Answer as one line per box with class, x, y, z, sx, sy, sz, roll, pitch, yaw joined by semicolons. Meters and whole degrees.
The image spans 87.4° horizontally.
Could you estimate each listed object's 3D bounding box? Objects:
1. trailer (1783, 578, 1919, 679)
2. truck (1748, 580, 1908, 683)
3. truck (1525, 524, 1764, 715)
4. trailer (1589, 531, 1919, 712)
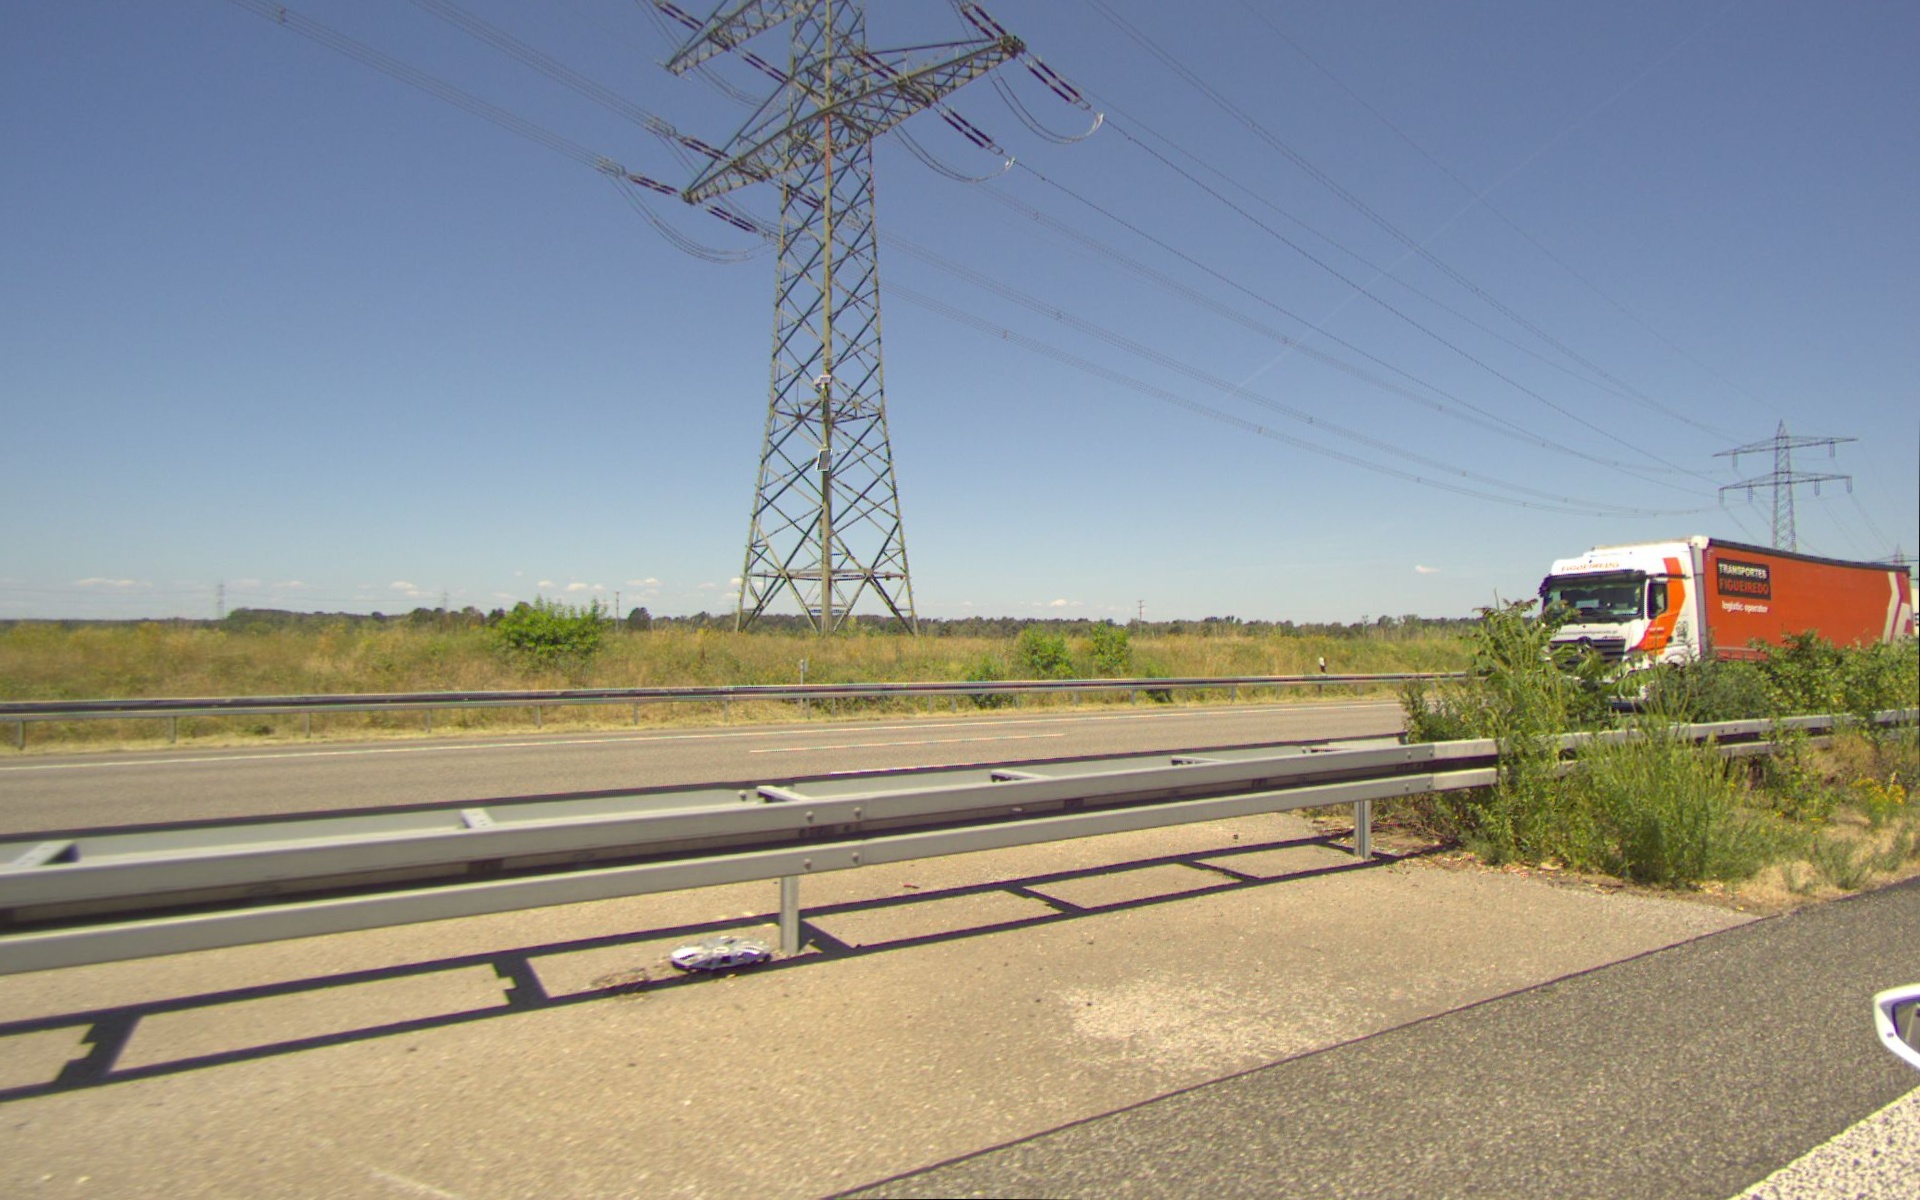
trailer;41.250;1.327;43.999;15.794;3.872;2.840;2;-3;-31
truck;34.552;1.273;39.930;6.772;3.800;2.821;1;-2;-31
truck;17.092;0.545;25.041;5.839;4.266;2.588;1;-3;-30
trailer;23.078;0.721;28.659;14.166;4.293;2.578;2;-3;-31
